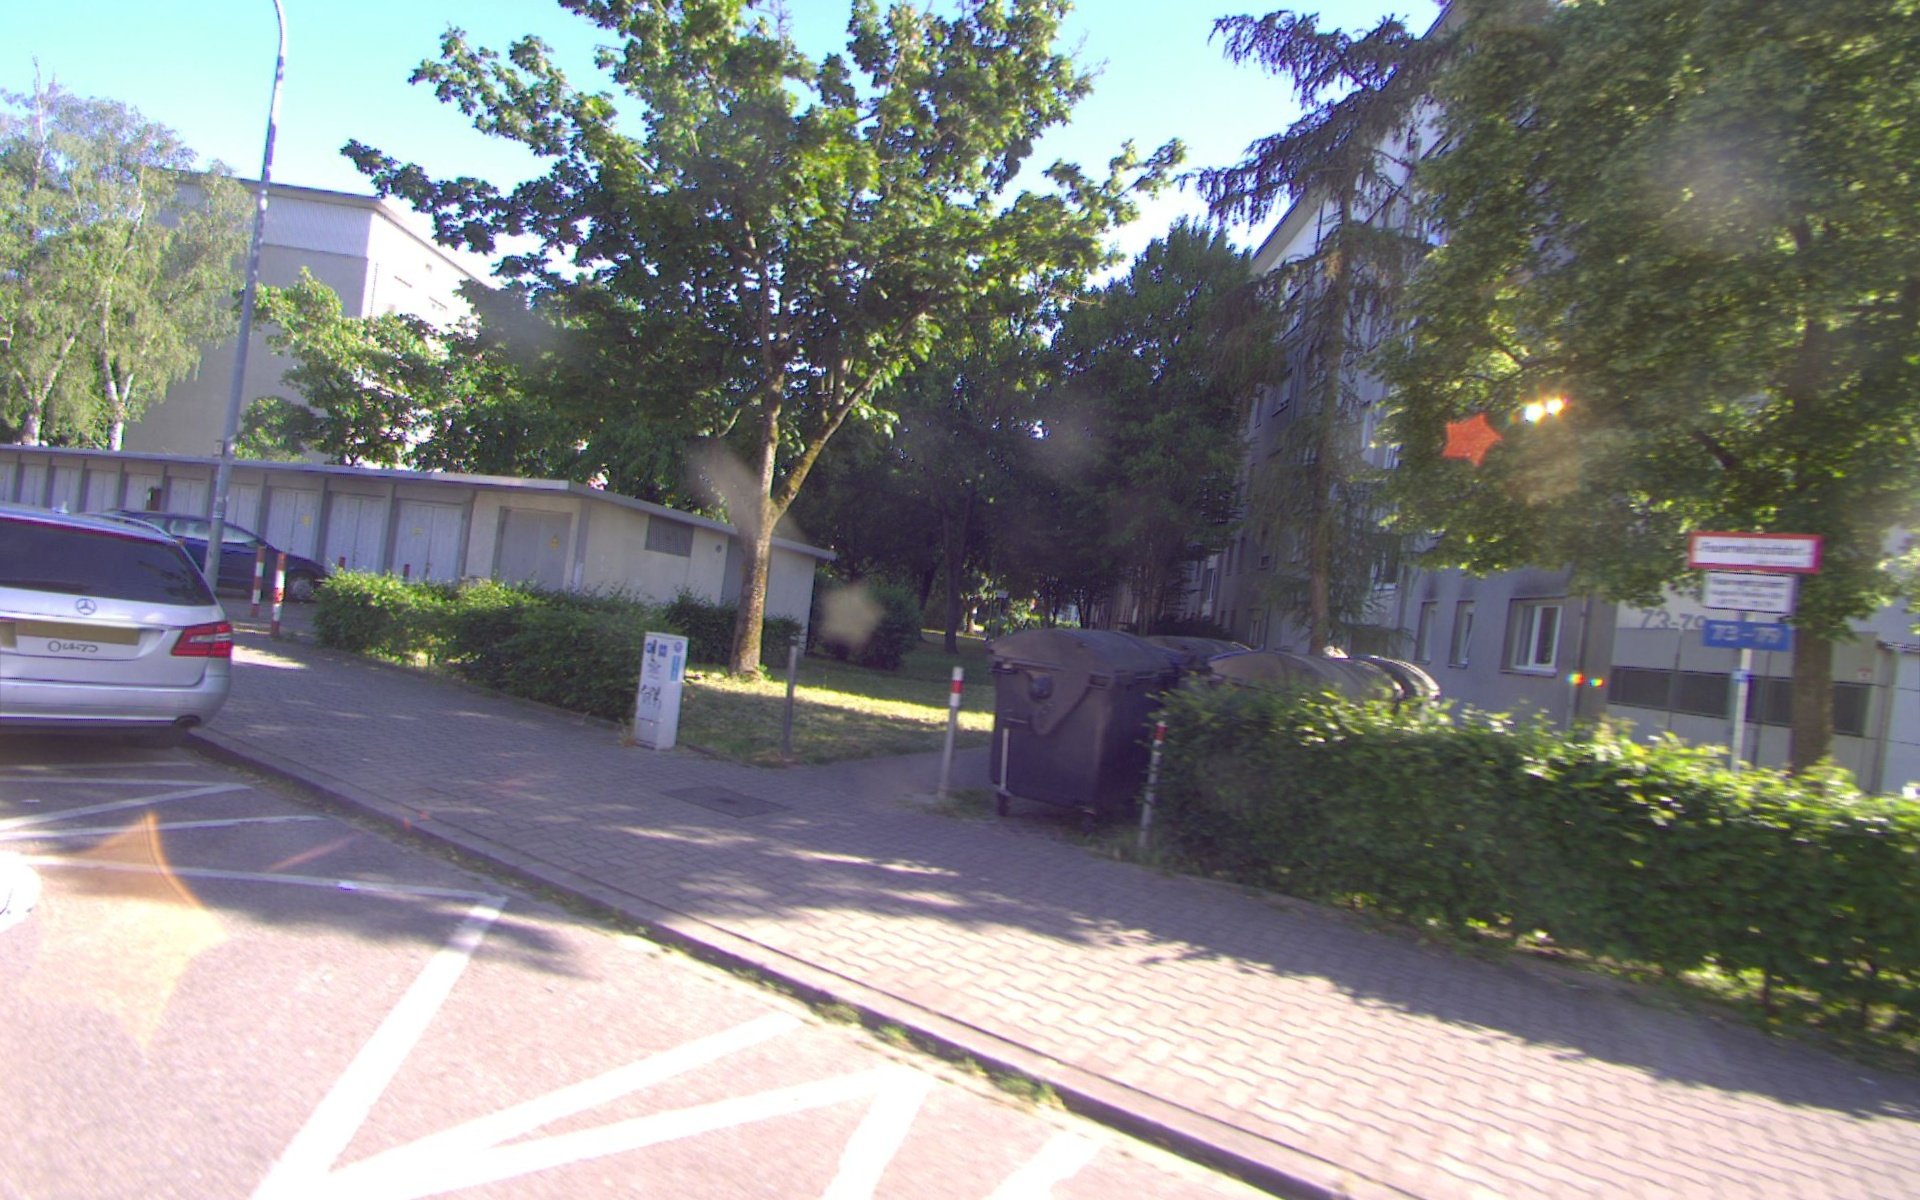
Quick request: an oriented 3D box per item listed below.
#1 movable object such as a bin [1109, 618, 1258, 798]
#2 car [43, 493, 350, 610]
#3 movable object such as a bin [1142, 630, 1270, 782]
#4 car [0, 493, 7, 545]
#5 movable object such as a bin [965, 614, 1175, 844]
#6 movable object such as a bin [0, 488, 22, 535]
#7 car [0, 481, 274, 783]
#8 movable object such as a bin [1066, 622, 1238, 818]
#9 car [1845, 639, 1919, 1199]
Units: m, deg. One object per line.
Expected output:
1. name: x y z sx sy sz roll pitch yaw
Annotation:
1. movable object such as a bin: 2.274 1.061 10.102 1.011 1.555 1.328 7 -1 26
2. car: -14.338 -0.845 19.171 1.787 1.512 4.193 7 -2 29
3. movable object such as a bin: 2.845 1.197 11.552 1.011 1.498 1.326 7 -1 26
4. car: -10.831 -0.502 9.444 3.733 1.512 1.807 7 -2 33
5. movable object such as a bin: 0.870 0.904 7.615 1.051 1.446 1.327 7 2 26
6. movable object such as a bin: -33.877 -3.174 35.170 1.115 1.484 1.277 11 2 35
7. car: -6.723 -0.025 6.688 4.565 1.564 1.834 7 -1 33
8. movable object such as a bin: 1.717 1.020 8.838 1.011 1.448 1.328 7 -1 26
9. car: 3.395 1.036 0.283 4.422 1.646 1.757 7 -1 33
